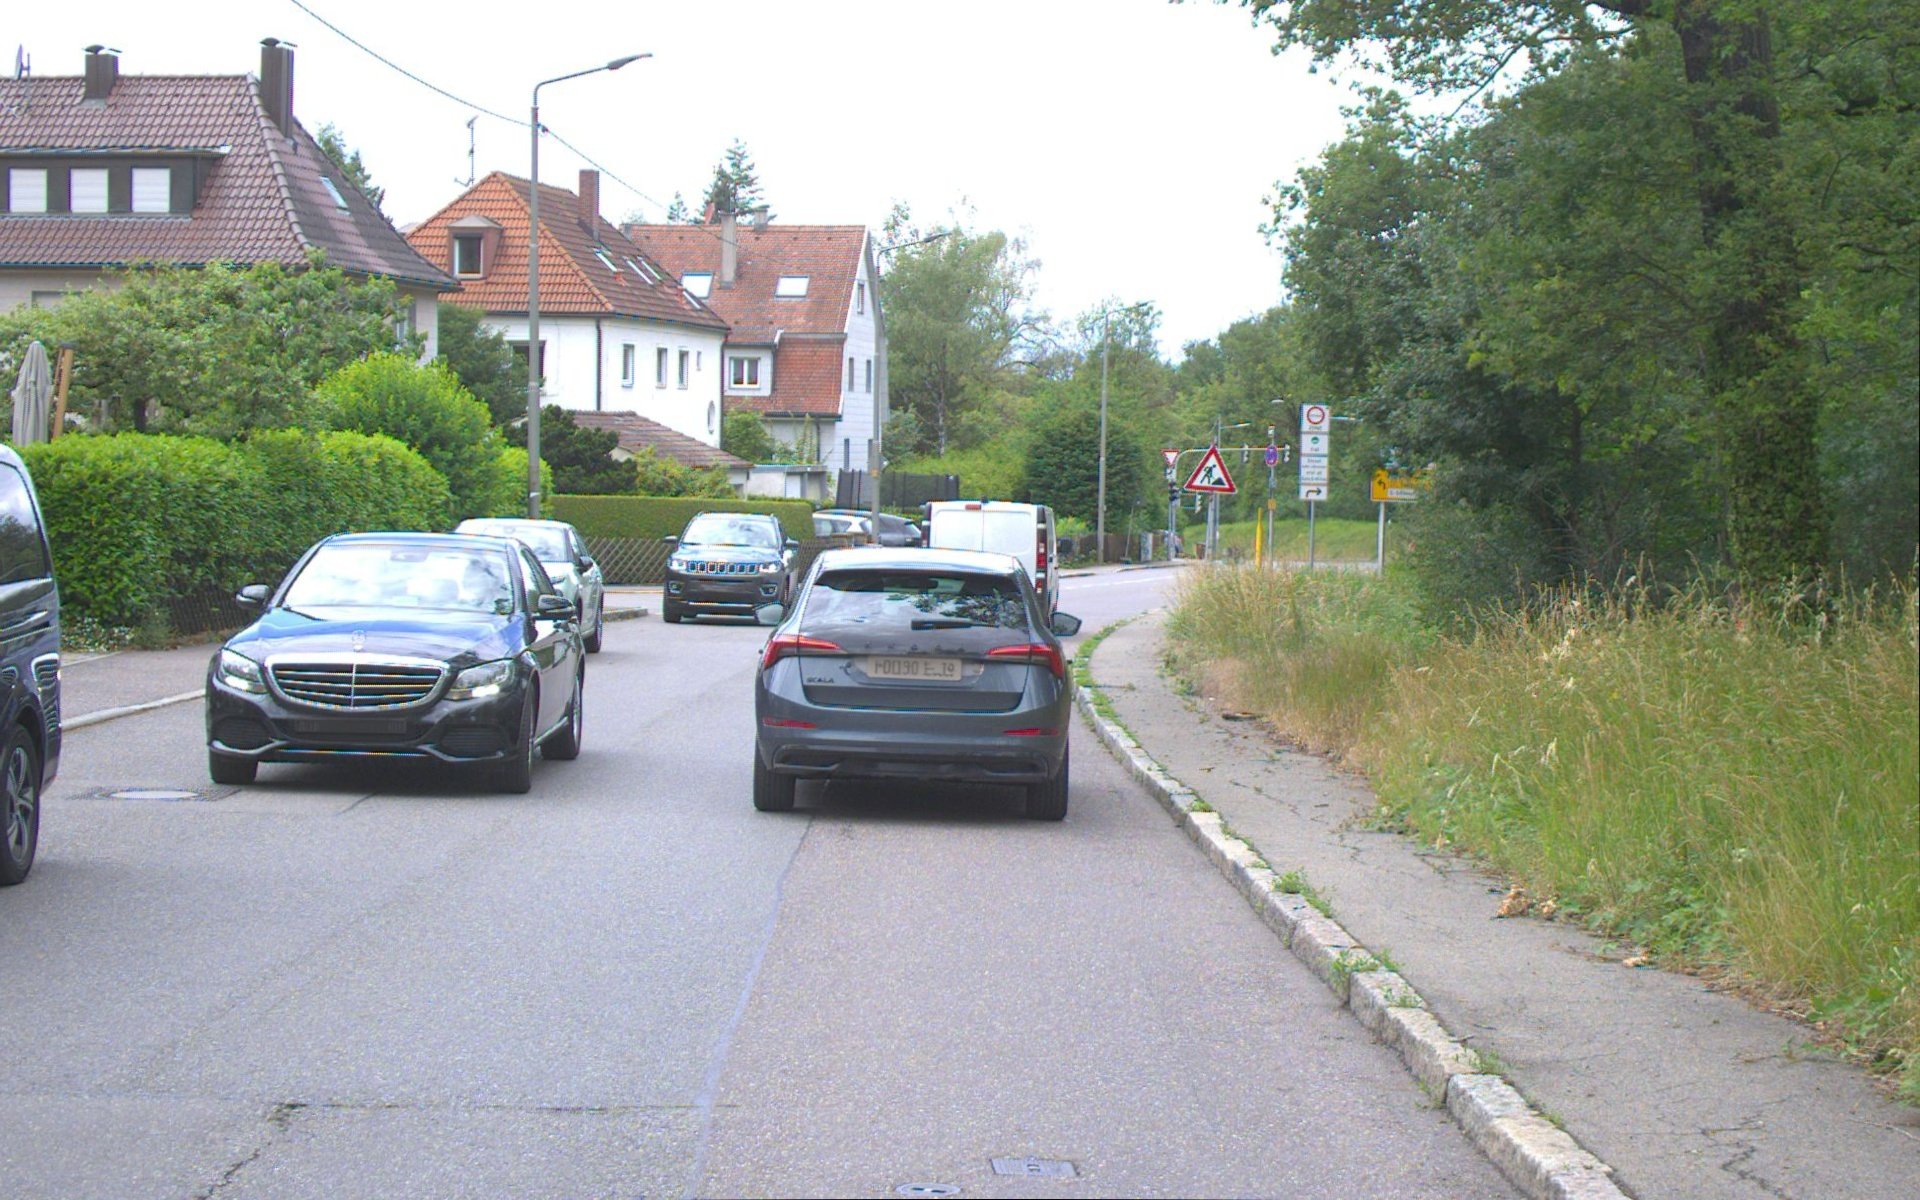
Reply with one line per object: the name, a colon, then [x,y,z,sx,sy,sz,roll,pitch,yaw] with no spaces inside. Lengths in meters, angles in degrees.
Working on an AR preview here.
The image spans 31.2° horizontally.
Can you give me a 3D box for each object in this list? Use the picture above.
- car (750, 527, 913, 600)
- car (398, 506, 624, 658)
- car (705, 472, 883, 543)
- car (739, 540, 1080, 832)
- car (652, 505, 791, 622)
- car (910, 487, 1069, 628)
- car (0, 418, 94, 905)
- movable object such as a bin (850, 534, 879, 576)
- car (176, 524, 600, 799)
car: [-3.277,-0.943,88.082,3.987,1.700,1.916,2,1,2]
car: [-4.832,-0.220,37.487,1.783,1.495,4.015,2,1,2]
car: [-4.011,-2.248,83.540,3.988,1.612,1.999,2,1,8]
car: [-0.393,0.411,20.049,1.727,1.434,4.324,2,1,-3]
car: [-3.529,-0.584,51.546,1.833,1.591,4.324,2,2,-1]
car: [0.497,-0.651,50.925,2.072,1.915,4.922,2,1,3]
car: [-4.657,0.234,12.363,1.863,1.919,5.038,2,1,-1]
movable object such as a bin: [-2.216,-1.046,79.821,0.599,0.947,0.579,2,1,6]
car: [-3.321,0.285,20.827,1.863,1.409,4.593,2,1,-1]
